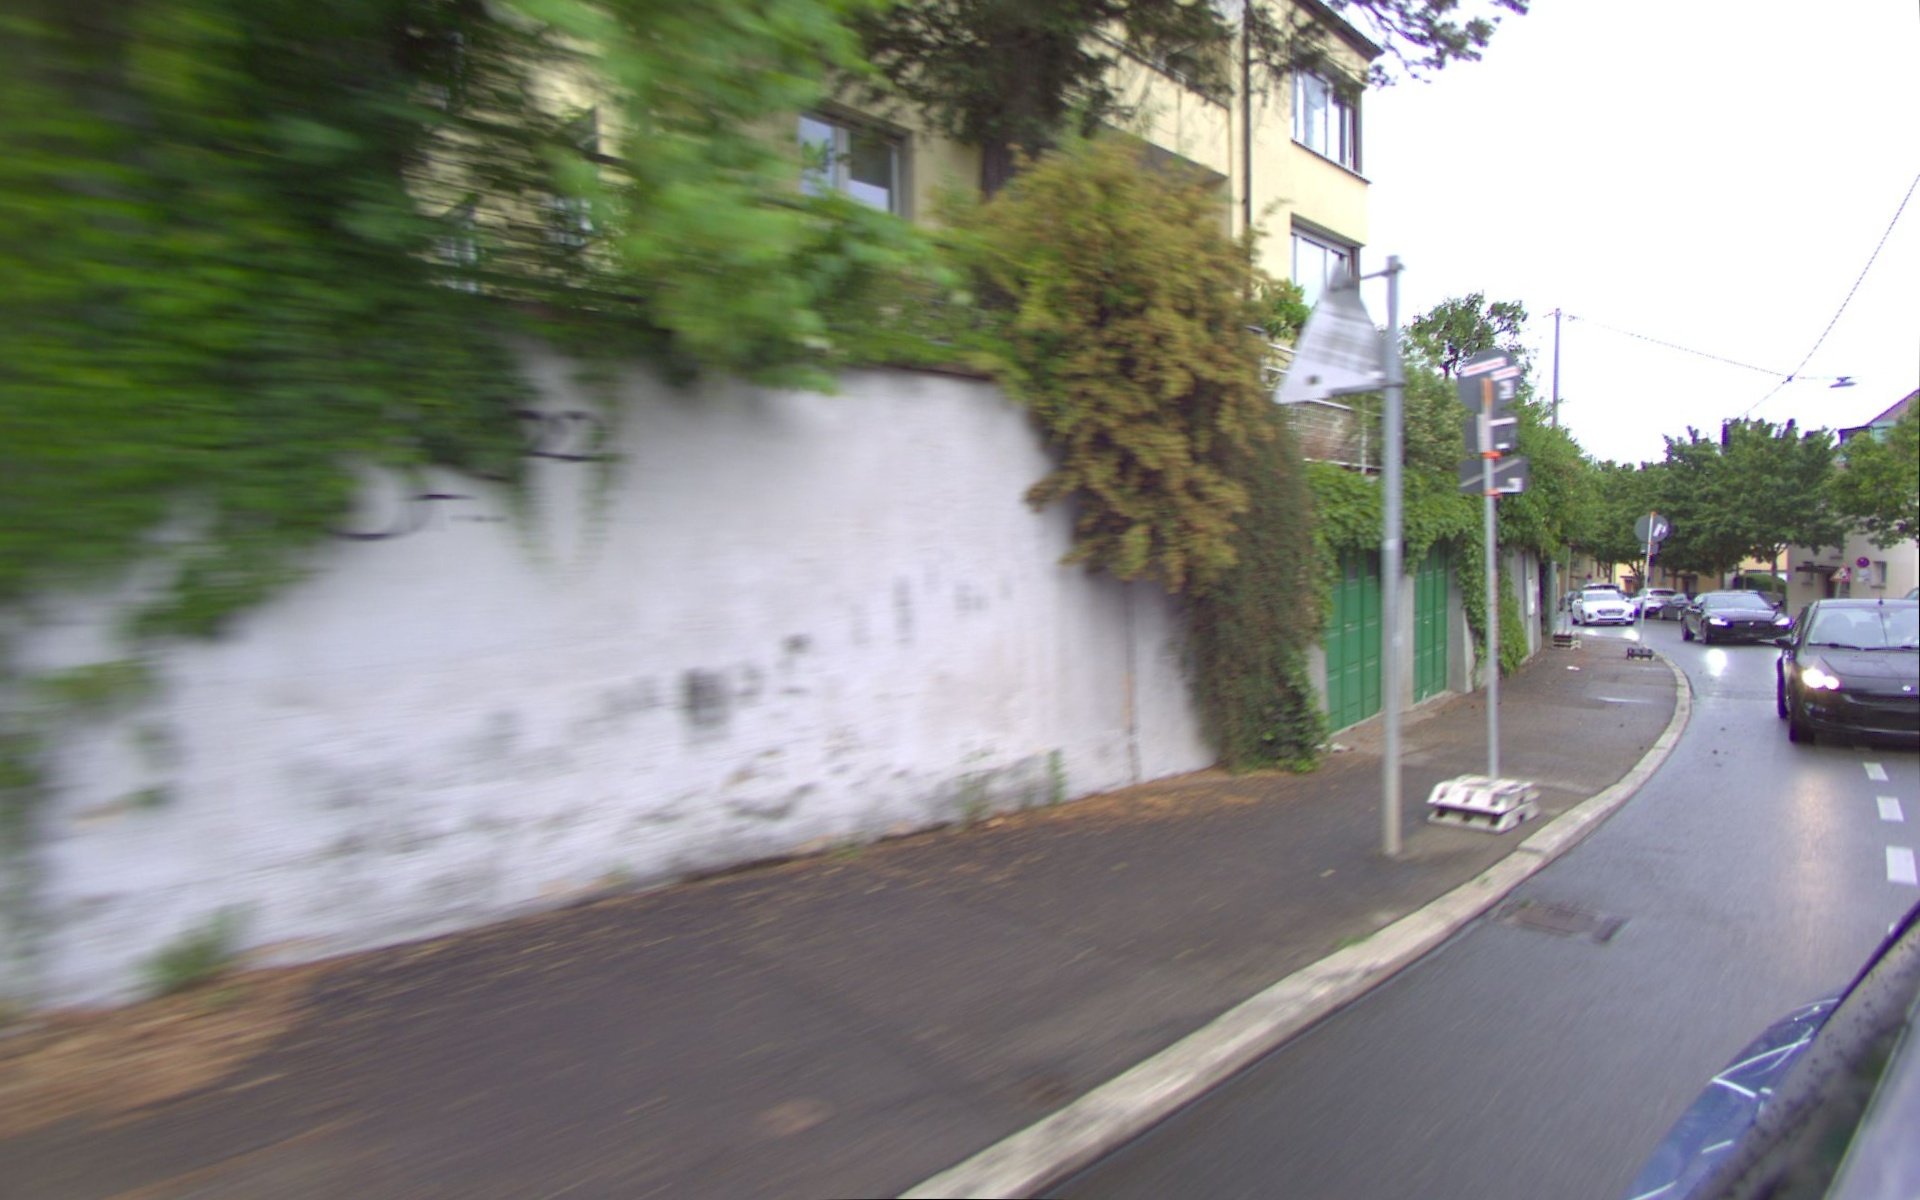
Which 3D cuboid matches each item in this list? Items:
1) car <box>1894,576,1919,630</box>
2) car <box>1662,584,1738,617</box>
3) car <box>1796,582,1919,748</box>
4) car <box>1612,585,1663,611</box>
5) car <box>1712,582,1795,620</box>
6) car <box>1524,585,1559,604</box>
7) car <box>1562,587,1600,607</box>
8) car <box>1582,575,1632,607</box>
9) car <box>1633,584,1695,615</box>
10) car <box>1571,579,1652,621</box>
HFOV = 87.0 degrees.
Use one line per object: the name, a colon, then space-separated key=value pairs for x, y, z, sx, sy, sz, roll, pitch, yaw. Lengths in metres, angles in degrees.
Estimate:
car: x=28.536 y=0.094 z=29.156 sx=1.507 sy=1.554 sz=3.010 roll=1 pitch=1 yaw=25
car: x=37.555 y=-0.002 z=51.486 sx=1.805 sy=1.528 sz=4.709 roll=1 pitch=2 yaw=20
car: x=10.131 y=0.566 z=10.876 sx=1.739 sy=1.460 sz=4.297 roll=1 pitch=2 yaw=40
car: x=41.581 y=-0.169 z=62.182 sx=1.604 sy=1.460 sz=4.239 roll=2 pitch=2 yaw=21
car: x=36.243 y=0.000 z=46.353 sx=1.702 sy=1.565 sz=4.266 roll=2 pitch=2 yaw=20
car: x=51.533 y=-0.495 z=89.759 sx=1.886 sy=1.620 sz=4.065 roll=0 pitch=1 yaw=18
car: x=45.542 y=-0.234 z=74.281 sx=1.524 sy=1.390 sz=3.518 roll=2 pitch=2 yaw=19
car: x=44.263 y=-0.657 z=69.349 sx=1.800 sy=2.037 sz=4.535 roll=2 pitch=2 yaw=19
car: x=39.294 y=-0.080 z=56.588 sx=1.792 sy=1.634 sz=4.478 roll=1 pitch=1 yaw=21
car: x=29.876 y=-0.026 z=46.569 sx=1.993 sy=1.760 sz=4.571 roll=-2 pitch=0 yaw=19
